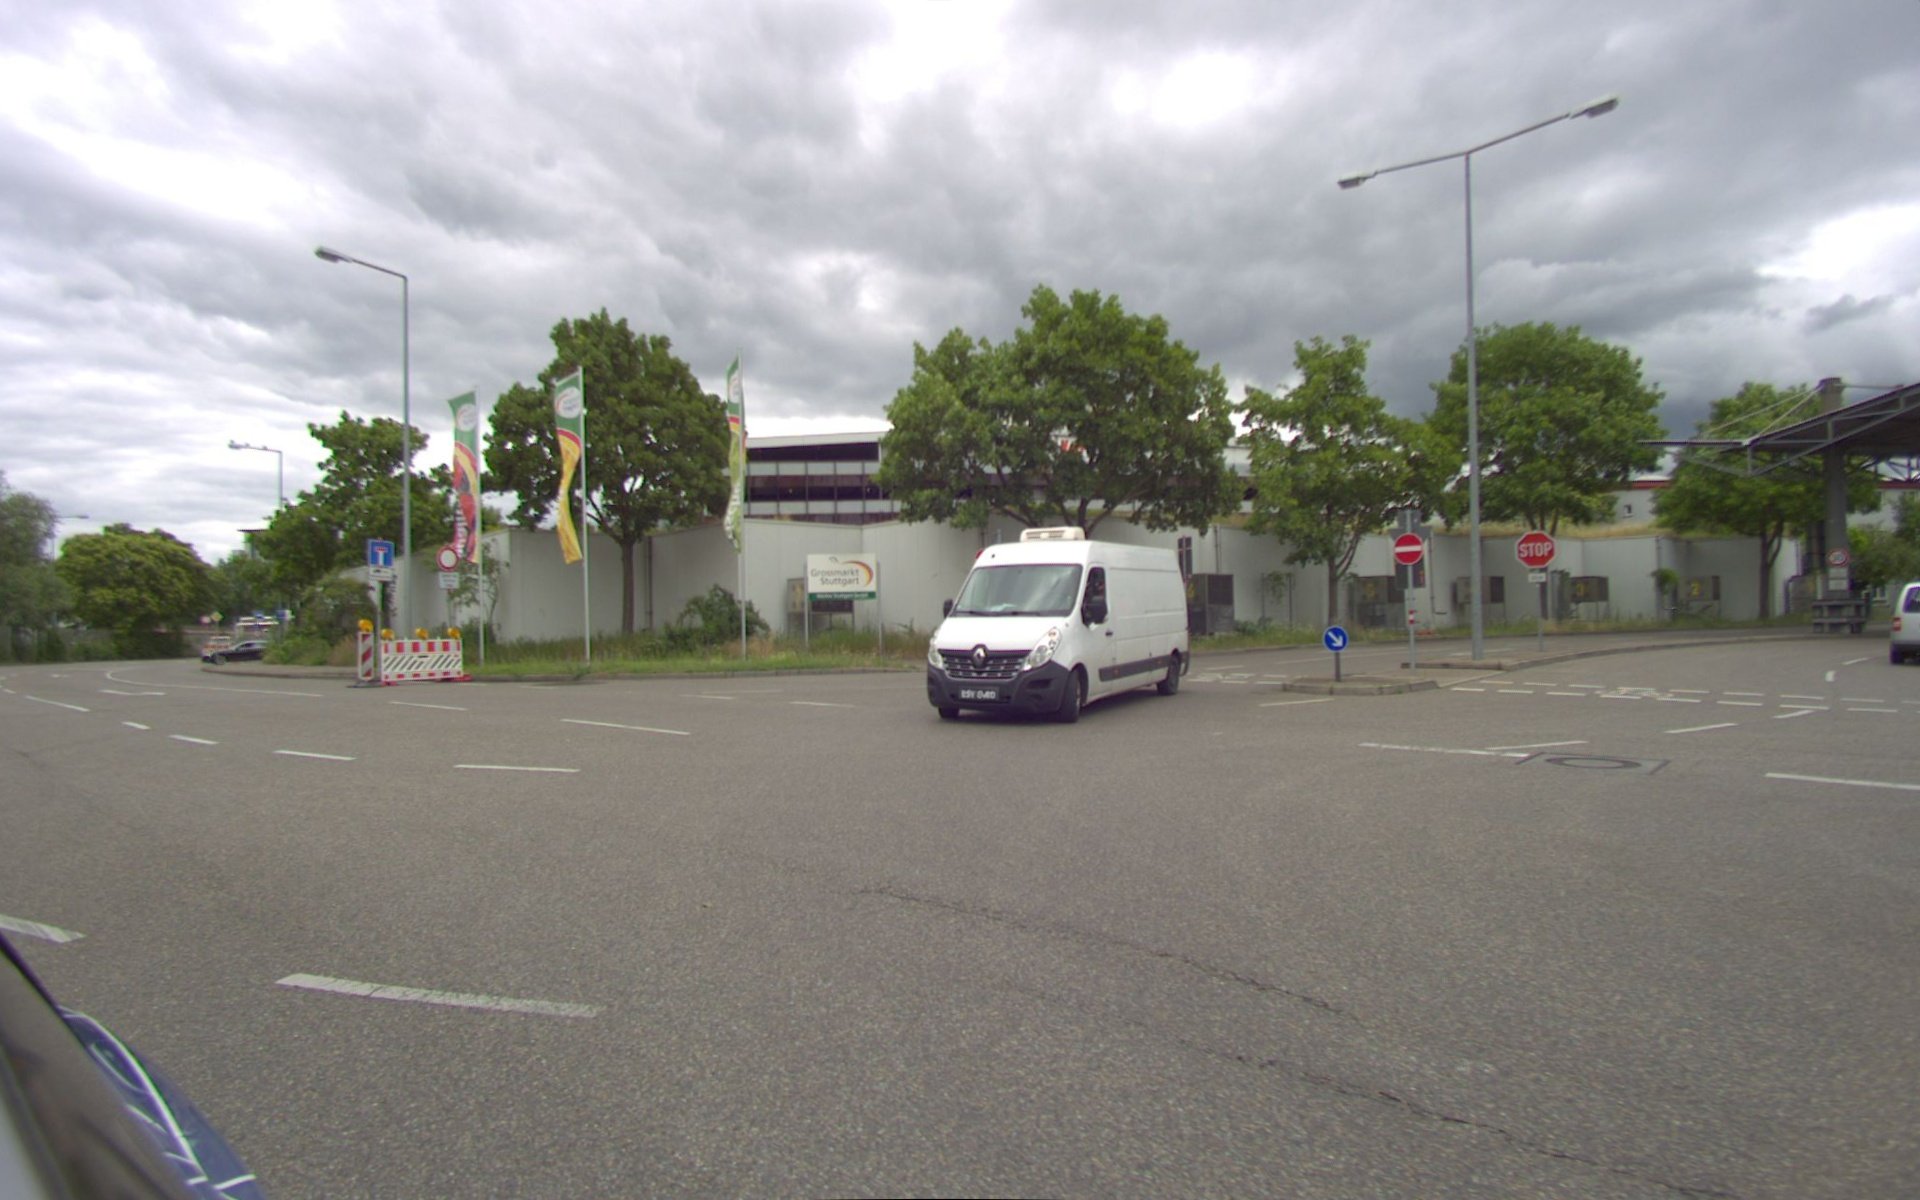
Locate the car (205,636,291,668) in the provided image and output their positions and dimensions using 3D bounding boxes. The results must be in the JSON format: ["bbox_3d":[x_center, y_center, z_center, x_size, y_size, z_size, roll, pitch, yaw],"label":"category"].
[{"bbox_3d":[-46.694,3.367,66.403,4.547,1.823,2.004,-2,-1,-37],"label":"car"}]

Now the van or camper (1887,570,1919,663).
[{"bbox_3d":[22.400,0.304,22.631,4.210,1.978,1.961,-2,1,-41],"label":"van or camper"}]

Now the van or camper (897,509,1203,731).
[{"bbox_3d":[1.640,0.221,14.928,2.263,2.576,6.048,-1,0,29],"label":"van or camper"}]
